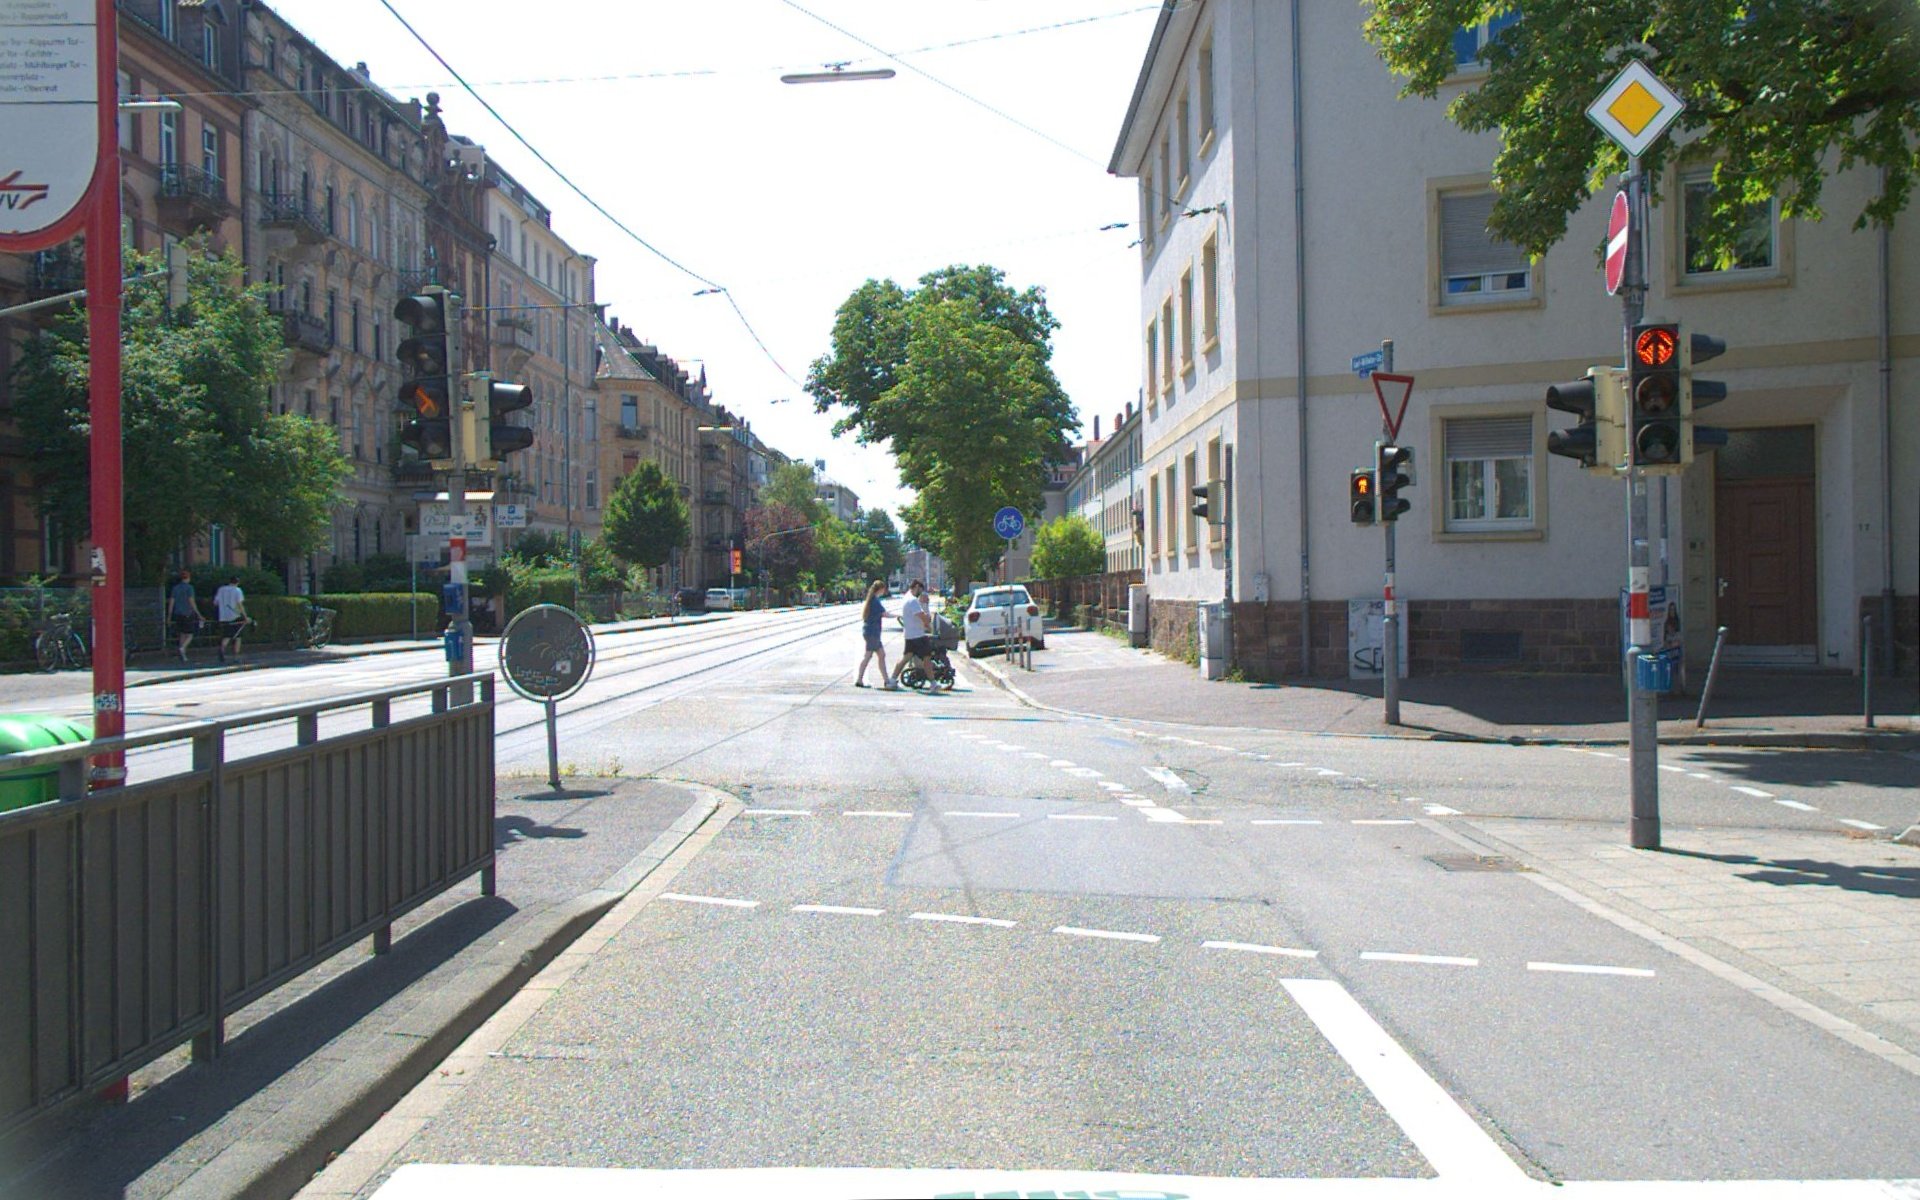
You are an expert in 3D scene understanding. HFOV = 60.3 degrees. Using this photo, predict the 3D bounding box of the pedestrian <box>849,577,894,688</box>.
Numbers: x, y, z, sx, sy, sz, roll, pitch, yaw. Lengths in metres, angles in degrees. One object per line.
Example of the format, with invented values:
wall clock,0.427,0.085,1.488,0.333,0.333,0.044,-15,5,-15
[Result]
pedestrian,-1.365,0.496,25.502,0.661,1.674,0.558,1,-1,-4

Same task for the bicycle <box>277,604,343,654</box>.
bicycle,-15.890,0.698,40.516,0.920,1.156,2.767,1,0,-9

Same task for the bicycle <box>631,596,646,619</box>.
bicycle,-15.499,0.337,79.791,0.665,1.083,1.913,-1,0,-12

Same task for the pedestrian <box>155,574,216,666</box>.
pedestrian,-15.913,0.391,33.994,0.799,1.854,0.874,1,1,2

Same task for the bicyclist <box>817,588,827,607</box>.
bicyclist,-12.062,-0.250,144.893,0.712,1.657,1.079,1,0,1

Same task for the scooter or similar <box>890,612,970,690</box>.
scooter or similar,-0.471,0.791,25.704,1.178,1.175,0.557,1,-1,-7

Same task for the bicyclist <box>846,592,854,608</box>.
bicyclist,-12.437,0.012,186.836,0.712,1.850,1.079,1,0,1

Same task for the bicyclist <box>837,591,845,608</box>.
bicyclist,-12.001,-0.048,167.068,0.712,1.799,1.079,1,0,1

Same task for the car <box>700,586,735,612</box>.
car,-16.875,-0.050,115.315,1.880,1.745,3.999,1,0,-1

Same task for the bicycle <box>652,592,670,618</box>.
bicycle,-15.276,0.251,84.438,0.664,1.301,1.917,-1,0,-4

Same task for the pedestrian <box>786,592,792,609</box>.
pedestrian,-14.849,0.023,143.570,0.398,1.486,0.436,-1,0,-1

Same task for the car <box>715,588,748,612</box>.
car,-17.044,-0.018,123.577,1.880,1.745,3.999,1,0,-1

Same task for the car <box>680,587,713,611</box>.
car,-19.675,-0.063,123.610,1.880,1.745,3.999,1,0,-1

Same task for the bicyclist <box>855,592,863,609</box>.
bicyclist,-11.393,0.033,186.651,0.712,1.850,1.079,1,0,1

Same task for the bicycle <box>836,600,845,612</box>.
bicycle,-12.027,0.630,167.014,0.712,1.142,2.085,1,0,1

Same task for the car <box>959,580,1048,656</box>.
car,0.928,0.395,37.340,1.778,1.542,3.999,-3,0,-1

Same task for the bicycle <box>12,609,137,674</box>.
bicycle,-16.712,0.757,31.307,0.918,1.156,2.773,1,0,-2

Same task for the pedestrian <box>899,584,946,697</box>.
pedestrian,-0.567,0.604,24.804,0.661,1.674,0.558,1,-1,-4

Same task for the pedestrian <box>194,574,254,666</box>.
pedestrian,-15.143,0.400,34.047,0.799,1.854,0.874,1,1,2
